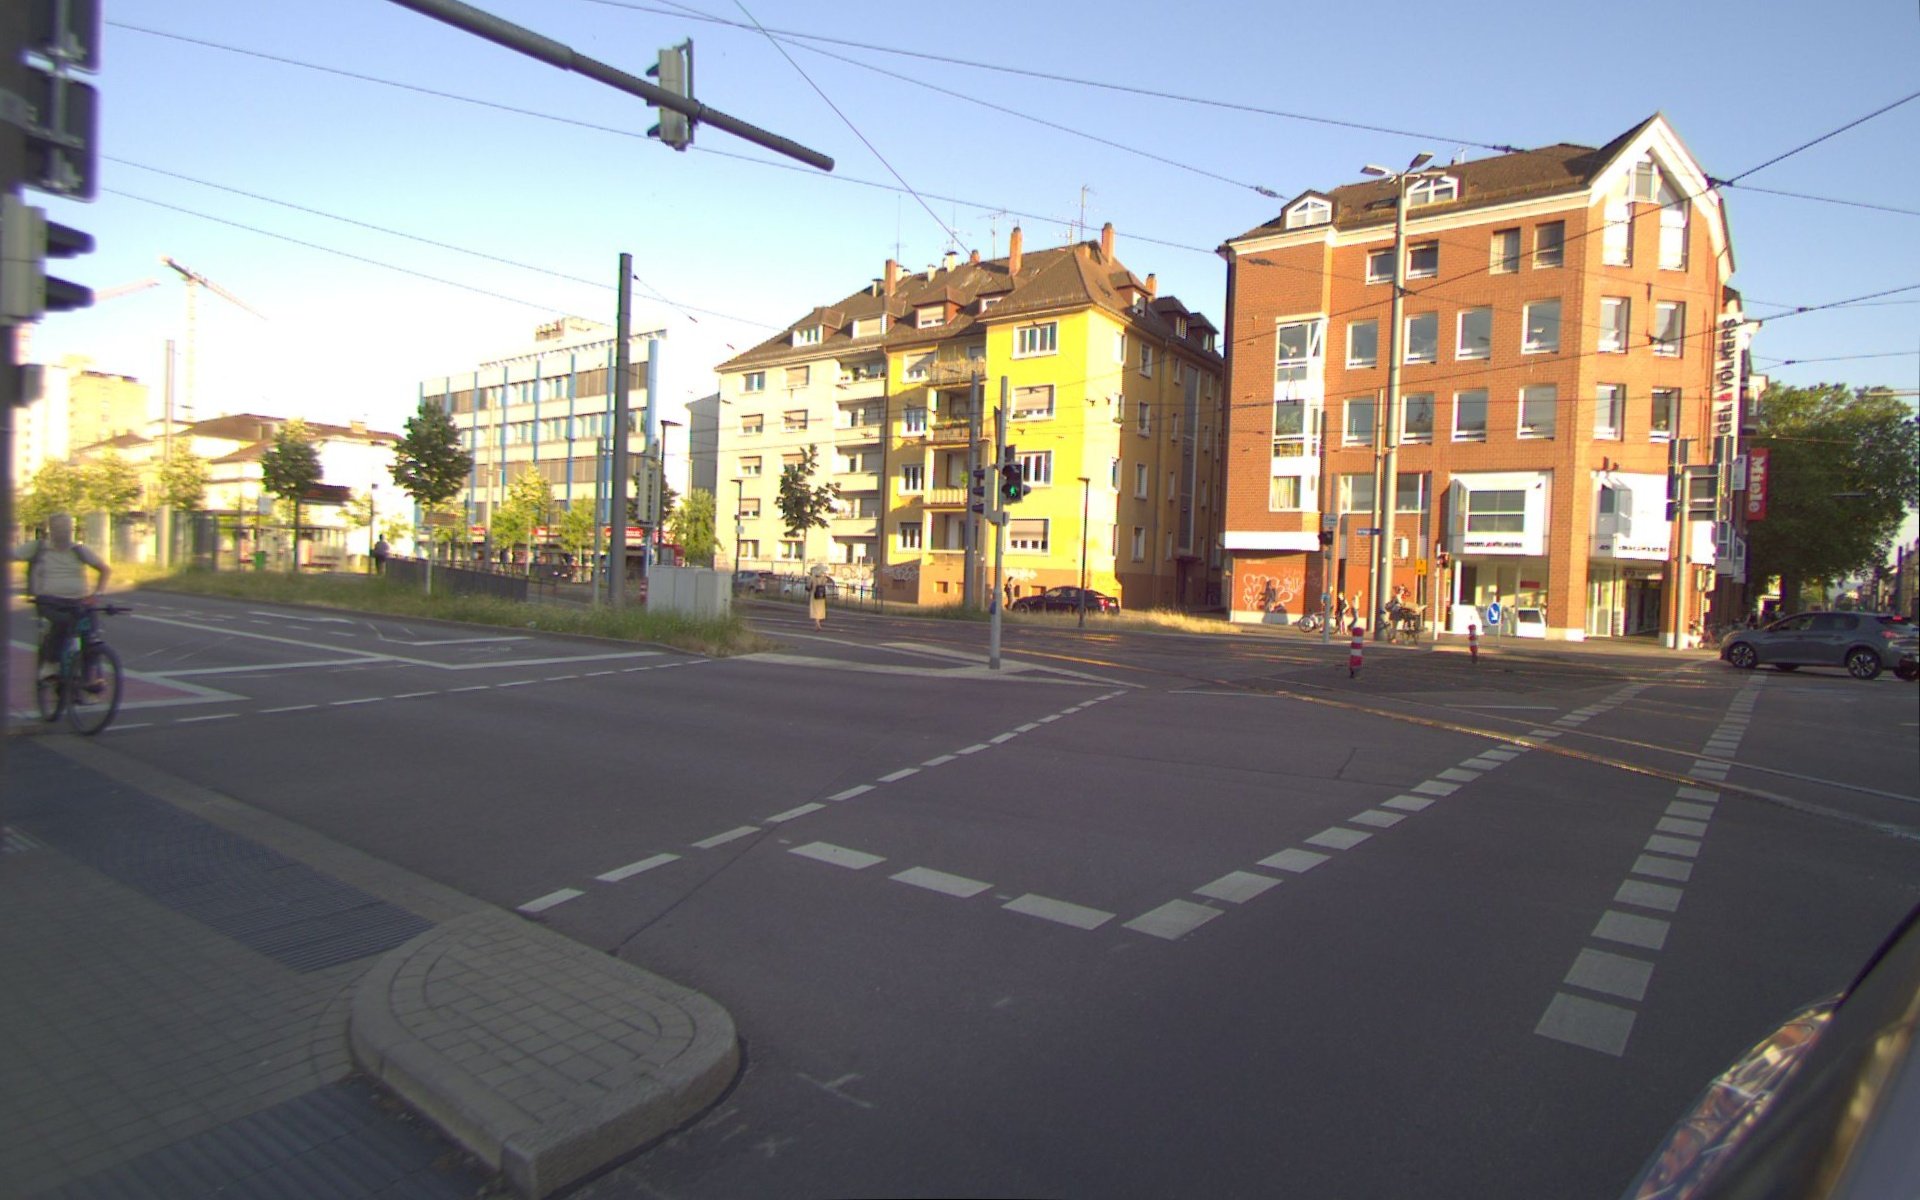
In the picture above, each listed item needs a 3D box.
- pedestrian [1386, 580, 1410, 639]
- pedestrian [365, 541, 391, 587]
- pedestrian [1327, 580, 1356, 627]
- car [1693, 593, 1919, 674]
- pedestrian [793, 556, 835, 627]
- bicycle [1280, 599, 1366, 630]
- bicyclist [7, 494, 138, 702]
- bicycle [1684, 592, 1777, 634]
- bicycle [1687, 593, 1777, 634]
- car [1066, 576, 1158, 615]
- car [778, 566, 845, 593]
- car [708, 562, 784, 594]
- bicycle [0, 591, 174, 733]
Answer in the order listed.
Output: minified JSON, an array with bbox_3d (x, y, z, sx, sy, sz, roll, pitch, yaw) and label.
[{"bbox_3d":[12.870,0.273,29.756,0.513,1.729,0.413,2,1,37],"label":"pedestrian"},{"bbox_3d":[-20.585,-1.275,35.804,0.687,1.610,0.557,3,1,40],"label":"pedestrian"},{"bbox_3d":[15.081,0.128,39.955,0.866,1.800,0.907,2,1,31],"label":"pedestrian"},{"bbox_3d":[20.097,0.698,23.524,1.877,1.522,4.714,2,2,-17],"label":"car"},{"bbox_3d":[-3.291,-0.187,22.805,0.694,1.560,0.637,1,1,-36],"label":"pedestrian"},{"bbox_3d":[14.129,0.555,39.459,3.039,1.030,0.921,3,1,31],"label":"bicycle"},{"bbox_3d":[-7.587,-0.033,8.659,0.741,1.691,0.591,3,1,27],"label":"bicyclist"},{"bbox_3d":[35.536,0.581,46.710,3.294,1.747,1.054,3,2,40],"label":"bicycle"},{"bbox_3d":[36.267,0.611,47.602,3.292,1.747,1.054,3,2,39],"label":"bicycle"},{"bbox_3d":[6.537,-0.166,43.244,1.841,1.514,4.224,1,-1,43],"label":"car"},{"bbox_3d":[-8.501,-1.170,57.810,3.521,1.437,1.718,3,2,35],"label":"car"},{"bbox_3d":[-12.874,-1.328,60.899,4.322,1.726,2.093,3,2,35],"label":"car"},{"bbox_3d":[-7.533,0.482,8.625,1.830,1.035,0.591,3,1,27],"label":"bicycle"}]
